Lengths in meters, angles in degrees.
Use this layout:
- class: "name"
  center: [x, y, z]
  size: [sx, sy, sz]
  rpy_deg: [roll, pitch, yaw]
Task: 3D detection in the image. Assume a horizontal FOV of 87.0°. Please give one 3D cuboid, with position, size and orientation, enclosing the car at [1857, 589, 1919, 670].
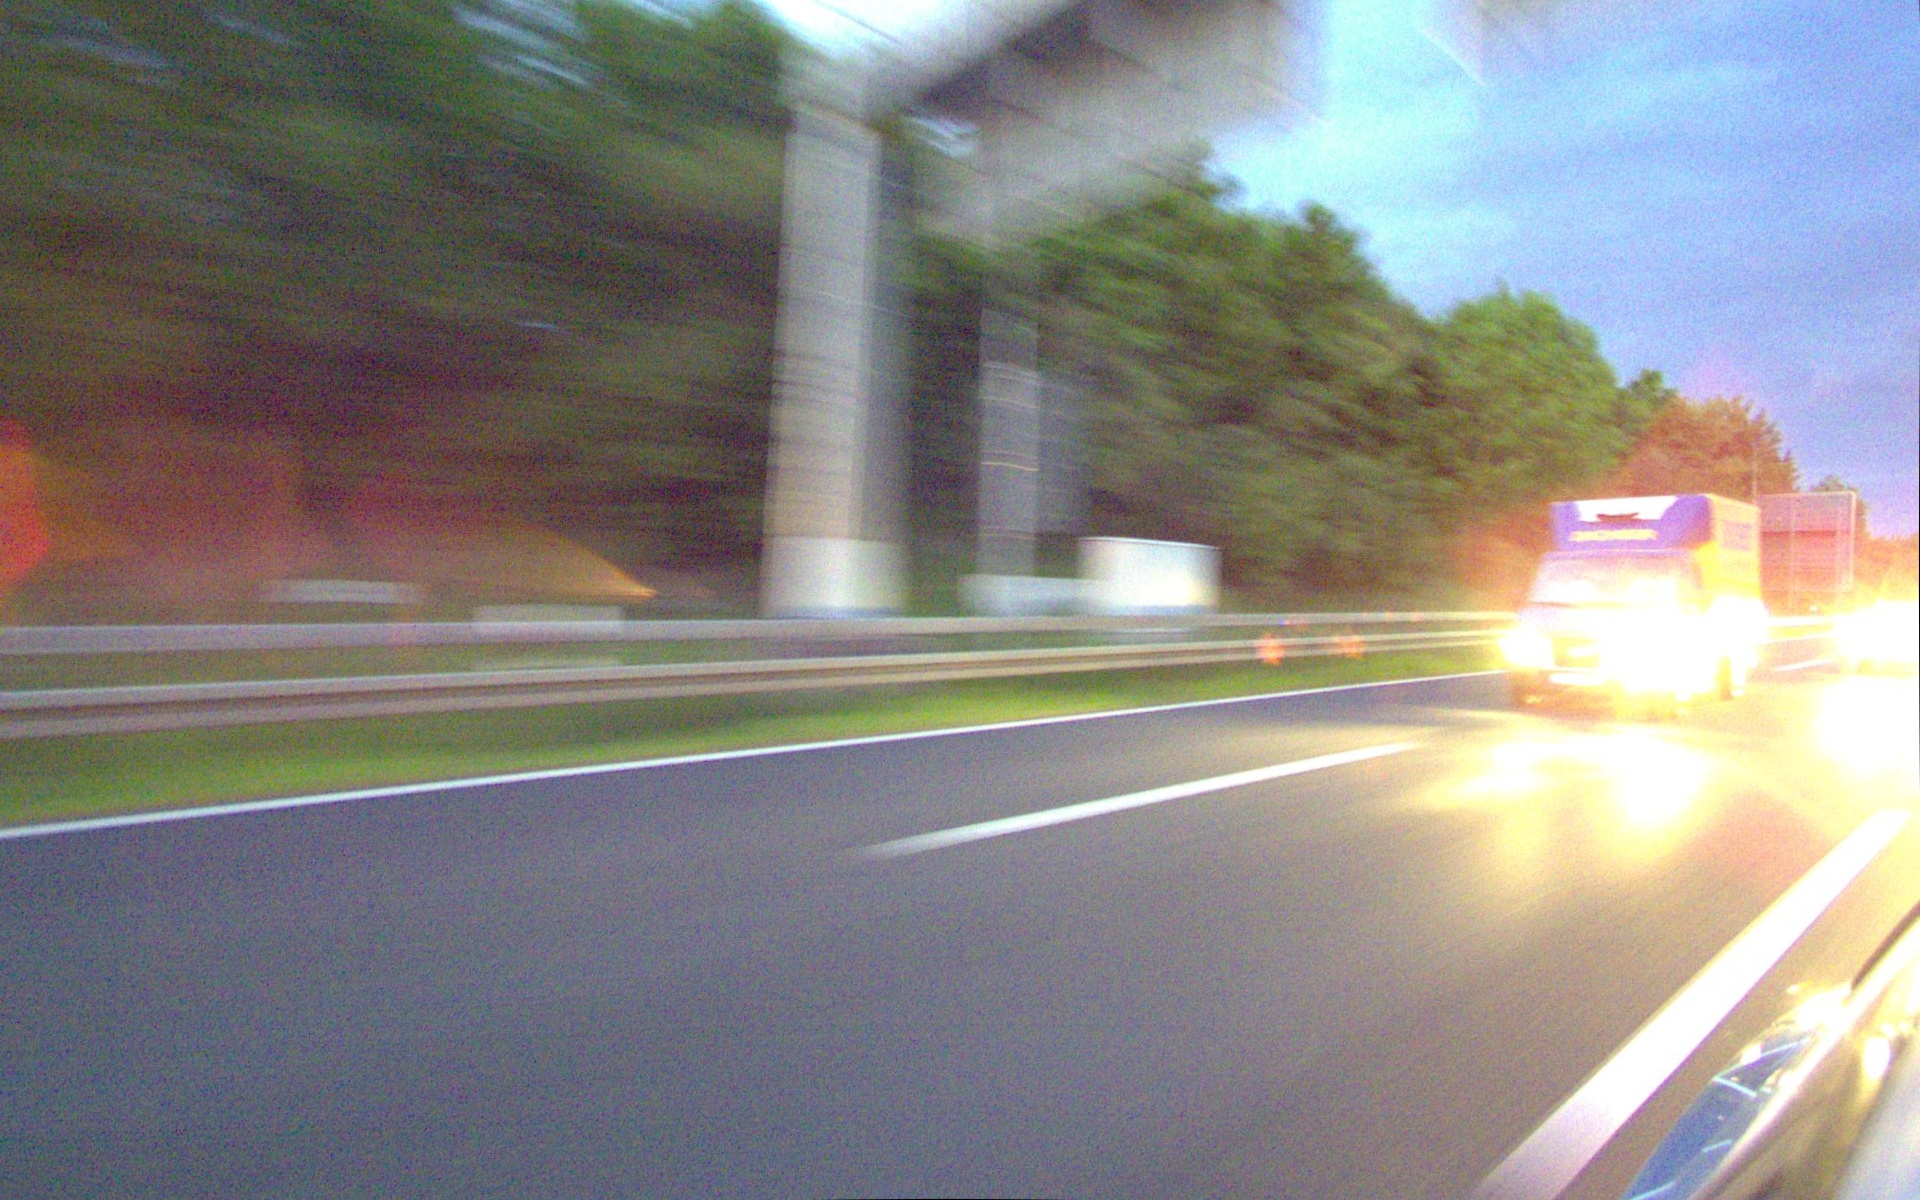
- class: "car"
  center: [20.292, 0.590, 21.394]
  size: [3.262, 1.575, 1.613]
  rpy_deg: [-1, 3, -42]

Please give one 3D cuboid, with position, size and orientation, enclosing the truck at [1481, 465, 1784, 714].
- class: "truck"
  center: [10.340, -0.125, 15.262]
  size: [6.517, 3.009, 2.271]
  rpy_deg: [0, 0, -42]
